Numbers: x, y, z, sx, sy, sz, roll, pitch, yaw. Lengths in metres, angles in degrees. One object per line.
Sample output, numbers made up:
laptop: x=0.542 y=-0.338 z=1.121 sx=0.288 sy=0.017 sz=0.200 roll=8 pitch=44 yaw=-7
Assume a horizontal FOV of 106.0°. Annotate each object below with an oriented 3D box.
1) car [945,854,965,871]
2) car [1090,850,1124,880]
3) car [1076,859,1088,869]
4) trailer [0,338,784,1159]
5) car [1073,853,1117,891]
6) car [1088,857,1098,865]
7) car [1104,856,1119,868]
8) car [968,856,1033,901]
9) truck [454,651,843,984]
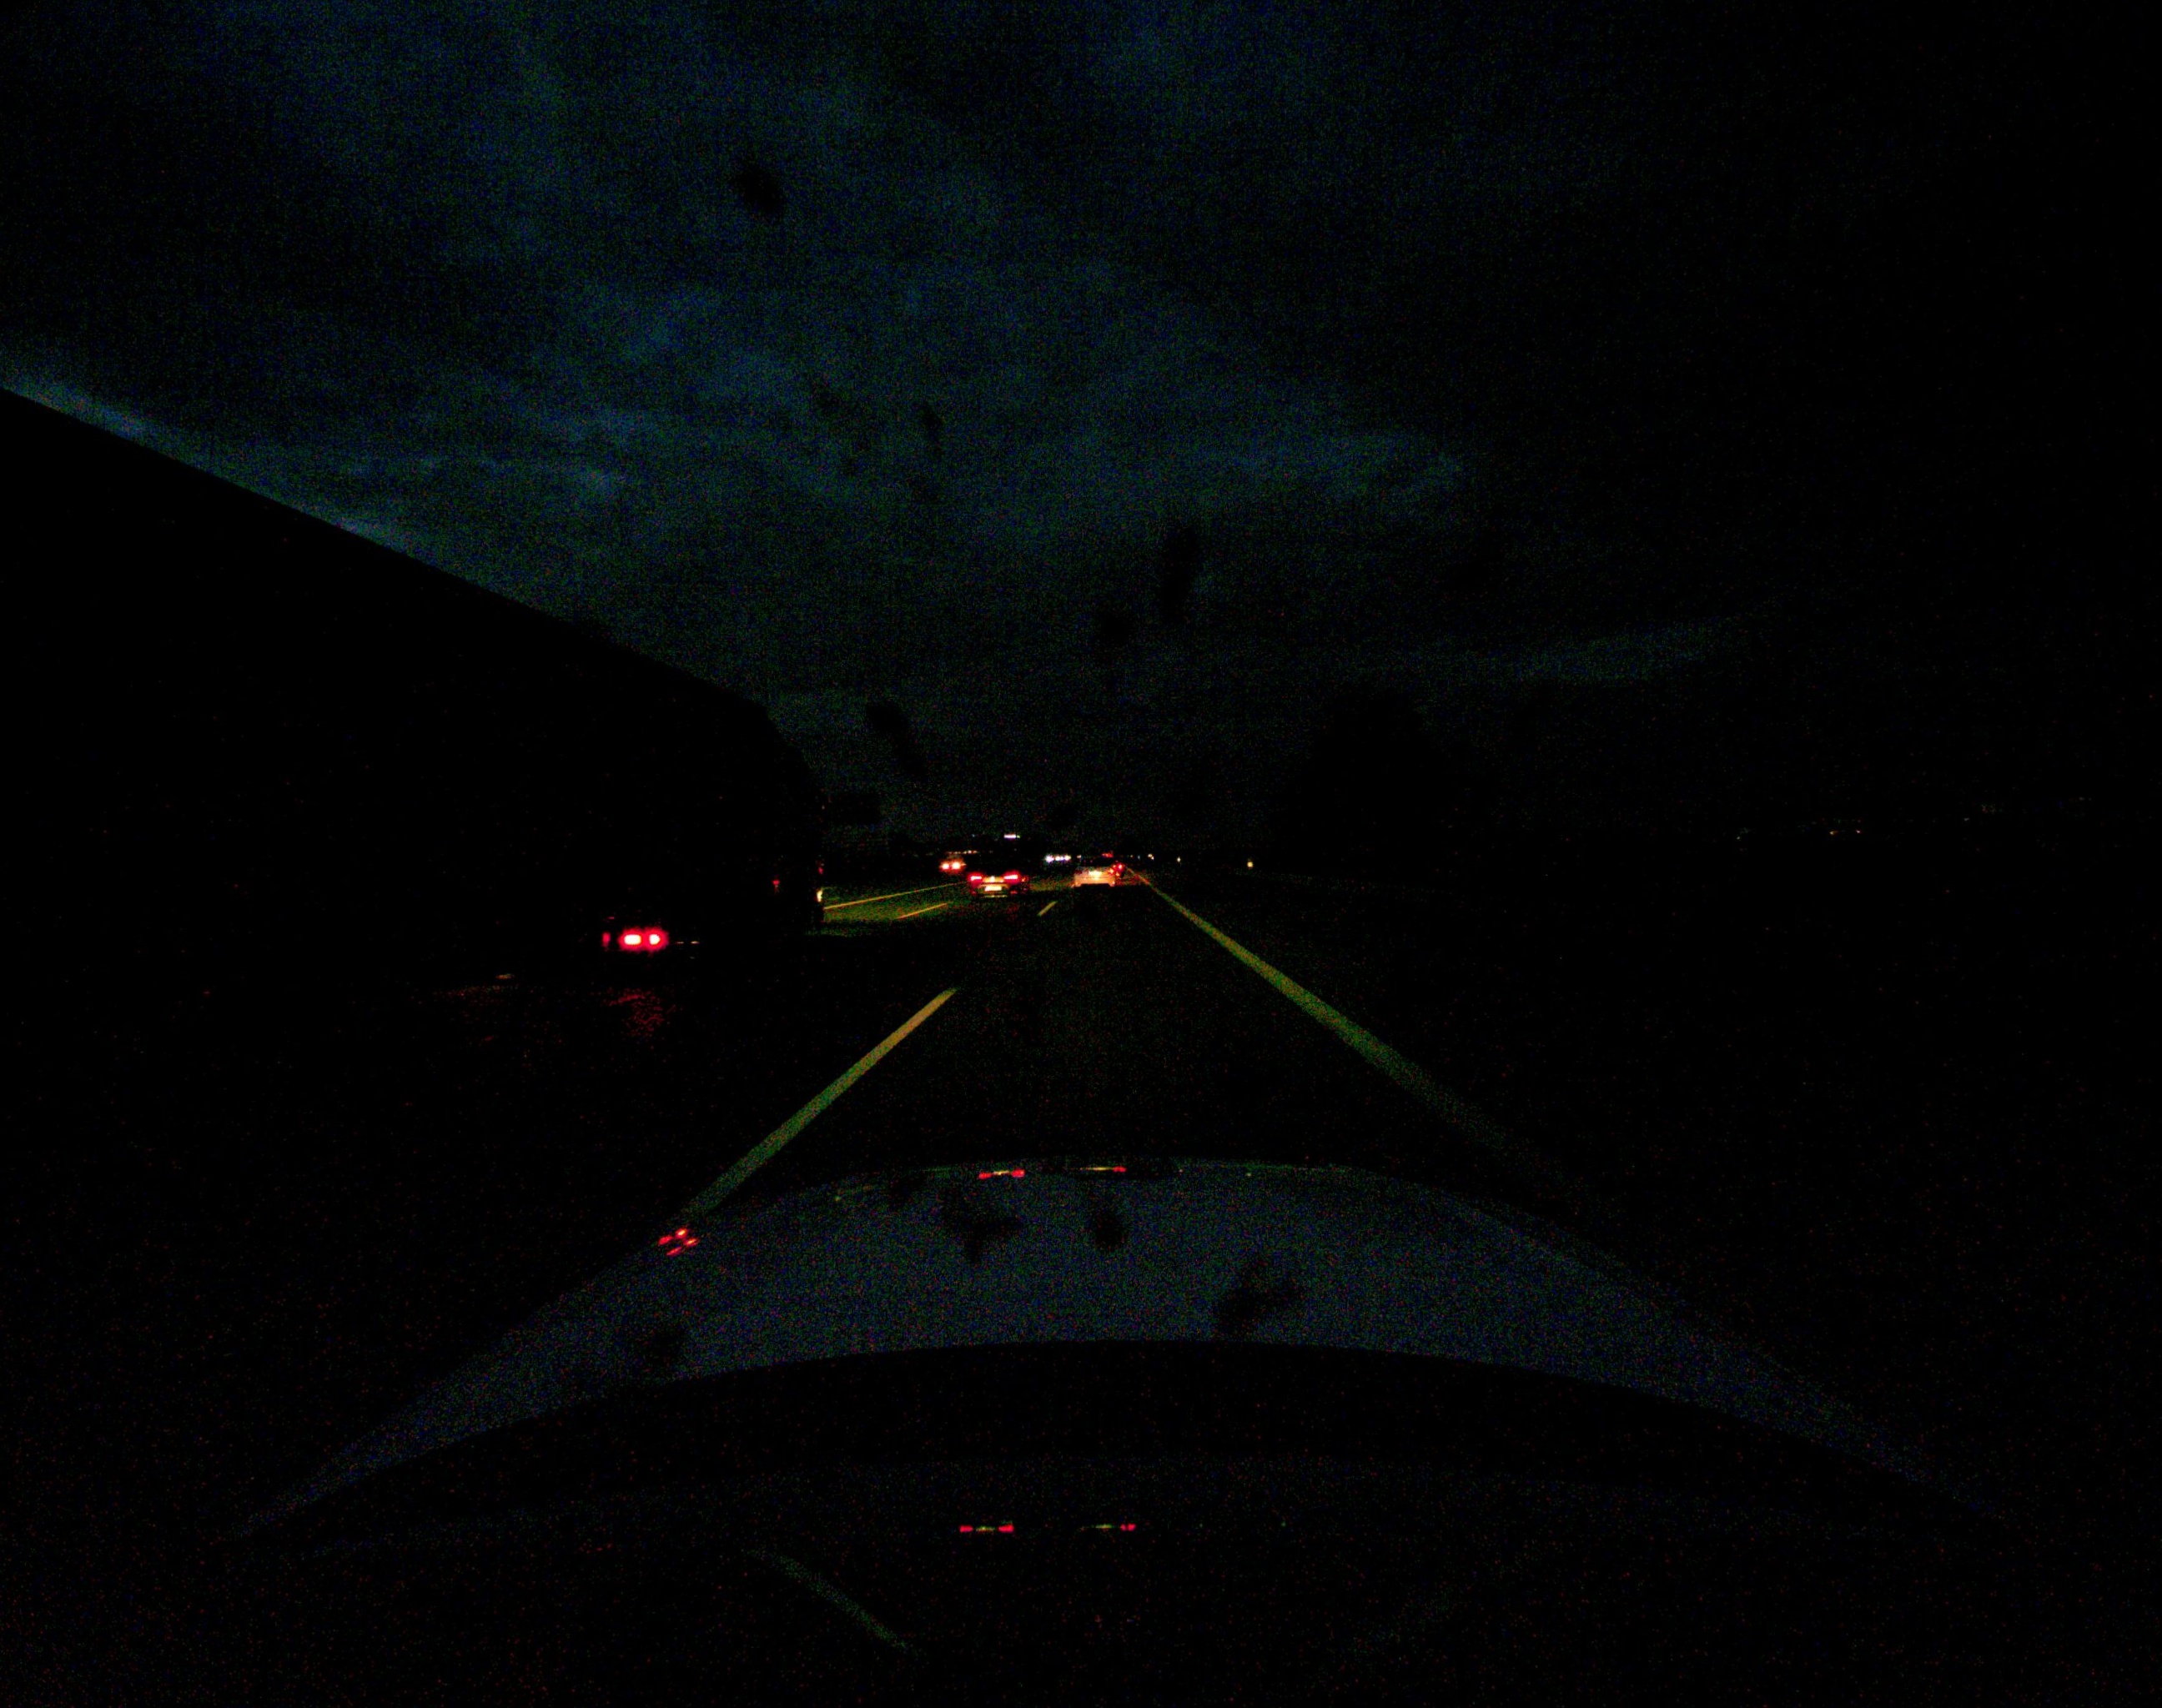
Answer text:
car: x=-18.714 y=1.281 z=121.143 sx=1.986 sy=2.388 sz=5.838 roll=0 pitch=-1 yaw=2
car: x=1.523 y=0.638 z=47.081 sx=1.873 sy=1.643 sz=4.001 roll=0 pitch=-1 yaw=2
car: x=0.182 y=1.574 z=129.614 sx=1.873 sy=1.552 sz=4.001 roll=0 pitch=-1 yaw=1
trailer: x=-6.656 y=-0.483 z=6.145 sx=2.783 sy=4.085 sz=14.535 roll=-1 pitch=-1 yaw=3
car: x=0.654 y=0.746 z=34.548 sx=1.737 sy=1.525 sz=4.416 roll=0 pitch=-1 yaw=2
car: x=2.984 y=1.779 z=199.710 sx=2.191 sy=1.879 sz=4.001 roll=0 pitch=-1 yaw=2
car: x=3.778 y=0.989 z=101.714 sx=1.873 sy=1.552 sz=4.001 roll=0 pitch=-1 yaw=1
car: x=-2.788 y=0.844 z=29.092 sx=1.716 sy=1.471 sz=4.727 roll=0 pitch=-1 yaw=1
truck: x=-6.317 y=-0.424 z=13.220 sx=2.766 sy=4.093 sz=6.107 roll=-1 pitch=-1 yaw=3
